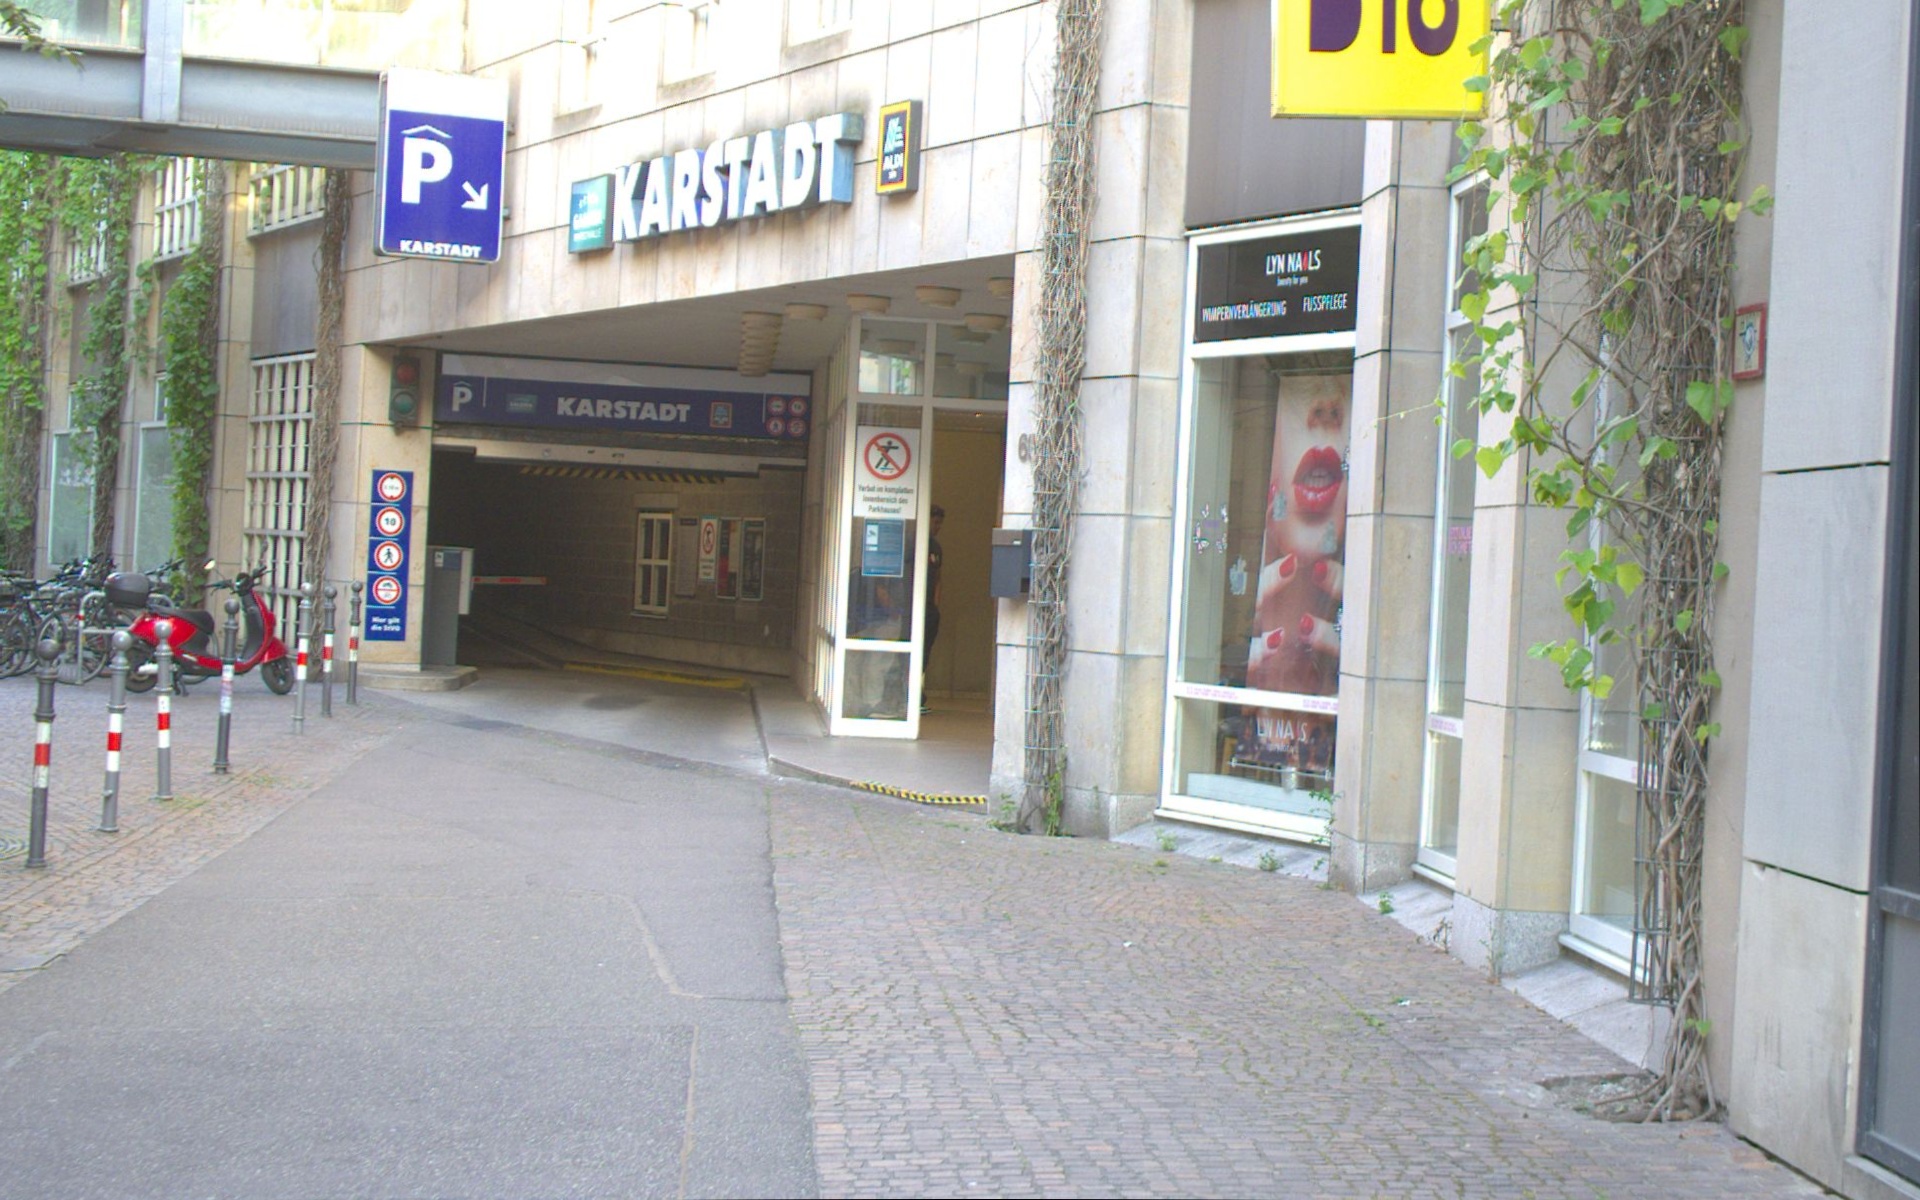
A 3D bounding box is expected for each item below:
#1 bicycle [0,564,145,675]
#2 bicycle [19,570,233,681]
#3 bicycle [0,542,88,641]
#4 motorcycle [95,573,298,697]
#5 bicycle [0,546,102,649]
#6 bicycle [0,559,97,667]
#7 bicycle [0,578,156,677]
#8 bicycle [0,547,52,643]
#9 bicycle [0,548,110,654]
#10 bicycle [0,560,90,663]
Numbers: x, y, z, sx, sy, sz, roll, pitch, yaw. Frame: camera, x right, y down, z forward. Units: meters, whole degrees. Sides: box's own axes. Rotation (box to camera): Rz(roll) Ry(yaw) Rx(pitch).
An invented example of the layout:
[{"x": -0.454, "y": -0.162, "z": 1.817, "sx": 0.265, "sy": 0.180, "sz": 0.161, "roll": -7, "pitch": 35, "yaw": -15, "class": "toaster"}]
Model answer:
[{"x": -8.842, "y": 0.187, "z": 33.717, "sx": 1.539, "sy": 1.045, "sz": 0.575, "roll": 2, "pitch": 1, "yaw": -25, "class": "bicycle"}, {"x": -7.756, "y": 0.239, "z": 31.991, "sx": 1.847, "sy": 0.978, "sz": 0.464, "roll": 2, "pitch": 1, "yaw": -25, "class": "bicycle"}, {"x": -10.964, "y": -0.111, "z": 39.398, "sx": 1.773, "sy": 1.110, "sz": 0.543, "roll": 2, "pitch": 1, "yaw": -25, "class": "bicycle"}, {"x": -6.757, "y": 0.314, "z": 30.434, "sx": 1.662, "sy": 1.047, "sz": 0.464, "roll": 2, "pitch": 1, "yaw": -25, "class": "motorcycle"}, {"x": -10.507, "y": -0.038, "z": 38.226, "sx": 1.773, "sy": 1.110, "sz": 0.543, "roll": 2, "pitch": 1, "yaw": -25, "class": "bicycle"}, {"x": -9.550, "y": 0.120, "z": 34.644, "sx": 1.539, "sy": 1.045, "sz": 0.575, "roll": 2, "pitch": 1, "yaw": -25, "class": "bicycle"}, {"x": -8.622, "y": 0.259, "z": 32.781, "sx": 1.773, "sy": 0.901, "sz": 0.464, "roll": 2, "pitch": 1, "yaw": -25, "class": "bicycle"}, {"x": -11.631, "y": -0.080, "z": 40.369, "sx": 1.773, "sy": 1.110, "sz": 0.543, "roll": 2, "pitch": 1, "yaw": -25, "class": "bicycle"}, {"x": -10.160, "y": 0.003, "z": 37.176, "sx": 1.773, "sy": 1.110, "sz": 0.543, "roll": 2, "pitch": 1, "yaw": -25, "class": "bicycle"}, {"x": -9.969, "y": 0.108, "z": 36.014, "sx": 1.539, "sy": 1.045, "sz": 0.575, "roll": 2, "pitch": 1, "yaw": -25, "class": "bicycle"}]
